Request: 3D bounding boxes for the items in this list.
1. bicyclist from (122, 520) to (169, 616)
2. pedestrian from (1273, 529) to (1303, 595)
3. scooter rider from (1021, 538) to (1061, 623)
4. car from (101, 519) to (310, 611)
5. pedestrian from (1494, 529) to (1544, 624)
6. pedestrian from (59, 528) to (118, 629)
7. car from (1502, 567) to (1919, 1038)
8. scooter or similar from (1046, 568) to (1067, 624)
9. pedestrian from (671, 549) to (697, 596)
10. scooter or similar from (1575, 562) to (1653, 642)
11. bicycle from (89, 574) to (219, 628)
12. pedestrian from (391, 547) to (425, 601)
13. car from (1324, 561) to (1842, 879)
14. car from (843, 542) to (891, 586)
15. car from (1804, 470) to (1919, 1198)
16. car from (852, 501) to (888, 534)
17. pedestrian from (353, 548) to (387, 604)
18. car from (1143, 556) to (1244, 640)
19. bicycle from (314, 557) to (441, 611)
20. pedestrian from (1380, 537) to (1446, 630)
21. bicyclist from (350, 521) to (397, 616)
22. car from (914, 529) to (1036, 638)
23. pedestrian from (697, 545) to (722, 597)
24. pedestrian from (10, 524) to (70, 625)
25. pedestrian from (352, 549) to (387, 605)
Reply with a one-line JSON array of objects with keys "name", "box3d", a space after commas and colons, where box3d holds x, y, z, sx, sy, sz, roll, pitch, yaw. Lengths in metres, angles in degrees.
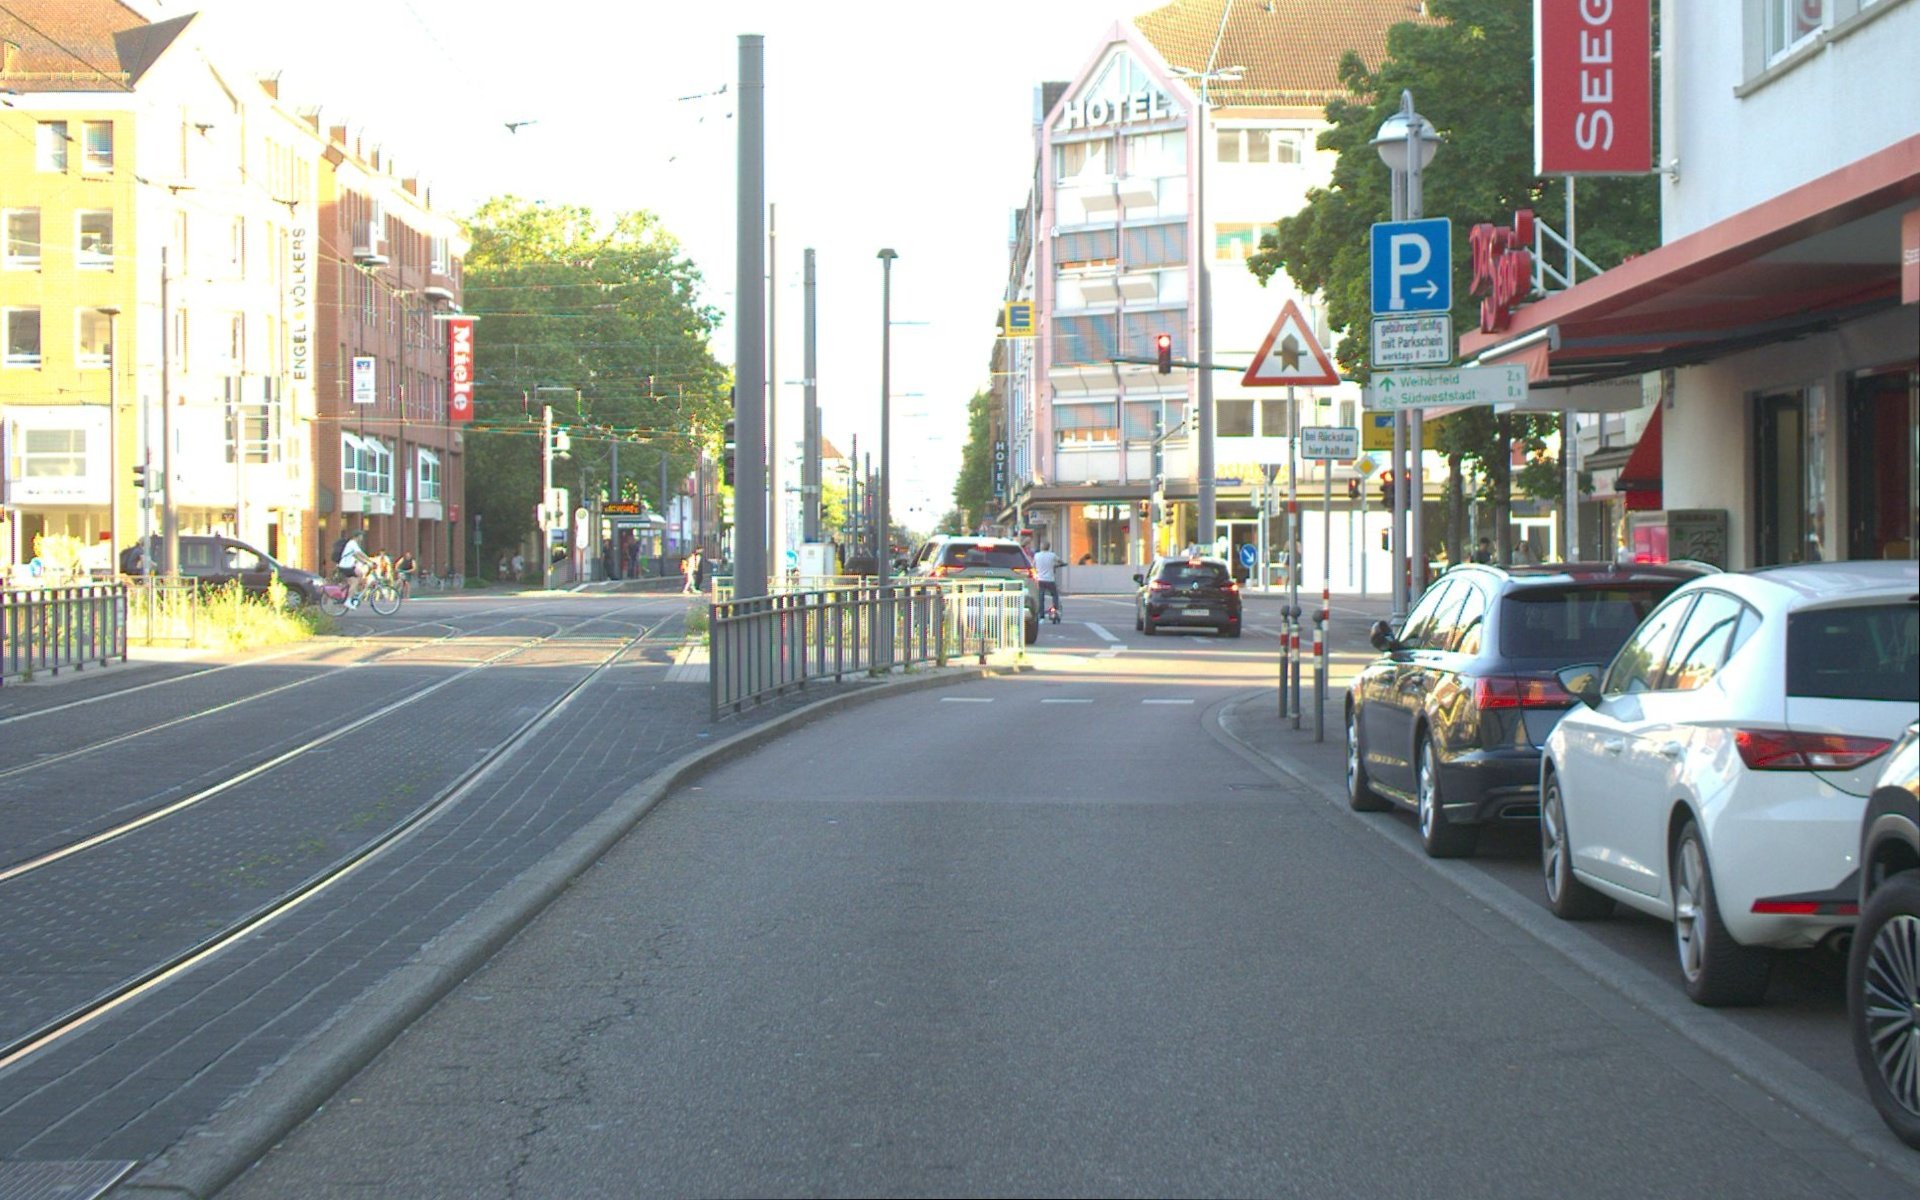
[{"name": "bicyclist", "box3d": [-17.264, -0.670, 72.833, 0.860, 2.007, 0.647, 1, 0, -19]}, {"name": "pedestrian", "box3d": [9.000, -1.038, 94.375, 0.746, 1.772, 0.800, 2, 0, 2]}, {"name": "scooter rider", "box3d": [1.582, -0.387, 67.179, 0.662, 1.641, 0.661, 2, 0, 8]}, {"name": "car", "box3d": [-17.069, -0.803, 77.856, 4.559, 2.030, 2.001, -1, 1, -12]}, {"name": "pedestrian", "box3d": [10.558, -0.444, 64.933, 0.746, 1.772, 0.973, 2, 0, 1]}, {"name": "pedestrian", "box3d": [-11.947, -0.298, 47.145, 0.663, 1.370, 0.652, 0, 1, -3]}, {"name": "car", "box3d": [3.158, 0.614, 12.545, 1.651, 1.416, 4.191, 2, 0, 0]}, {"name": "scooter or similar", "box3d": [1.885, -0.084, 67.240, 0.279, 1.087, 1.257, 2, 0, 6]}, {"name": "pedestrian", "box3d": [-9.757, -0.975, 121.520, 0.805, 1.658, 0.703, 2, 0, 2]}, {"name": "scooter or similar", "box3d": [10.032, 0.040, 52.739, 0.294, 1.213, 1.220, 1, -2, -44]}, {"name": "bicycle", "box3d": [-17.089, 0.023, 72.903, 2.639, 1.096, 0.435, 1, 0, -19]}, {"name": "pedestrian", "box3d": [-20.878, -0.995, 129.958, 1.093, 2.007, 1.163, 1, 0, -2]}, {"name": "car", "box3d": [3.096, 0.530, 18.058, 1.790, 1.408, 4.688, 2, 0, -1]}, {"name": "car", "box3d": [-3.854, -1.489, 142.766, 1.811, 1.740, 3.715, 2, 0, 1]}, {"name": "car", "box3d": [3.190, 0.574, 6.814, 1.856, 1.695, 4.418, 2, 0, -1]}, {"name": "car", "box3d": [-5.443, -5.001, 209.153, 1.993, 1.894, 4.000, 2, 0, 1]}, {"name": "pedestrian", "box3d": [-21.756, -0.881, 126.832, 1.093, 2.007, 0.909, 1, 0, -2]}, {"name": "car", "box3d": [4.248, -0.065, 62.149, 1.764, 1.435, 4.000, 0, 1, 5]}, {"name": "bicycle", "box3d": [-12.580, -0.348, 74.260, 2.639, 1.096, 0.435, 1, 0, -19]}, {"name": "pedestrian", "box3d": [8.359, -0.304, 63.452, 0.823, 1.679, 1.049, 1, 0, -15]}, {"name": "bicyclist", "box3d": [-12.660, -0.680, 74.202, 0.860, 2.007, 0.647, 1, 0, -21]}, {"name": "car", "box3d": [0.270, -0.232, 54.850, 1.835, 1.631, 4.090, -1, -1, 1]}, {"name": "pedestrian", "box3d": [-8.911, -1.032, 122.241, 0.805, 1.816, 0.703, 2, 0, 1]}, {"name": "pedestrian", "box3d": [-12.549, -0.348, 46.900, 0.663, 1.370, 0.652, 0, 1, -3]}, {"name": "pedestrian", "box3d": [-21.524, -0.854, 125.386, 1.093, 2.007, 0.909, 1, 0, -2]}]
